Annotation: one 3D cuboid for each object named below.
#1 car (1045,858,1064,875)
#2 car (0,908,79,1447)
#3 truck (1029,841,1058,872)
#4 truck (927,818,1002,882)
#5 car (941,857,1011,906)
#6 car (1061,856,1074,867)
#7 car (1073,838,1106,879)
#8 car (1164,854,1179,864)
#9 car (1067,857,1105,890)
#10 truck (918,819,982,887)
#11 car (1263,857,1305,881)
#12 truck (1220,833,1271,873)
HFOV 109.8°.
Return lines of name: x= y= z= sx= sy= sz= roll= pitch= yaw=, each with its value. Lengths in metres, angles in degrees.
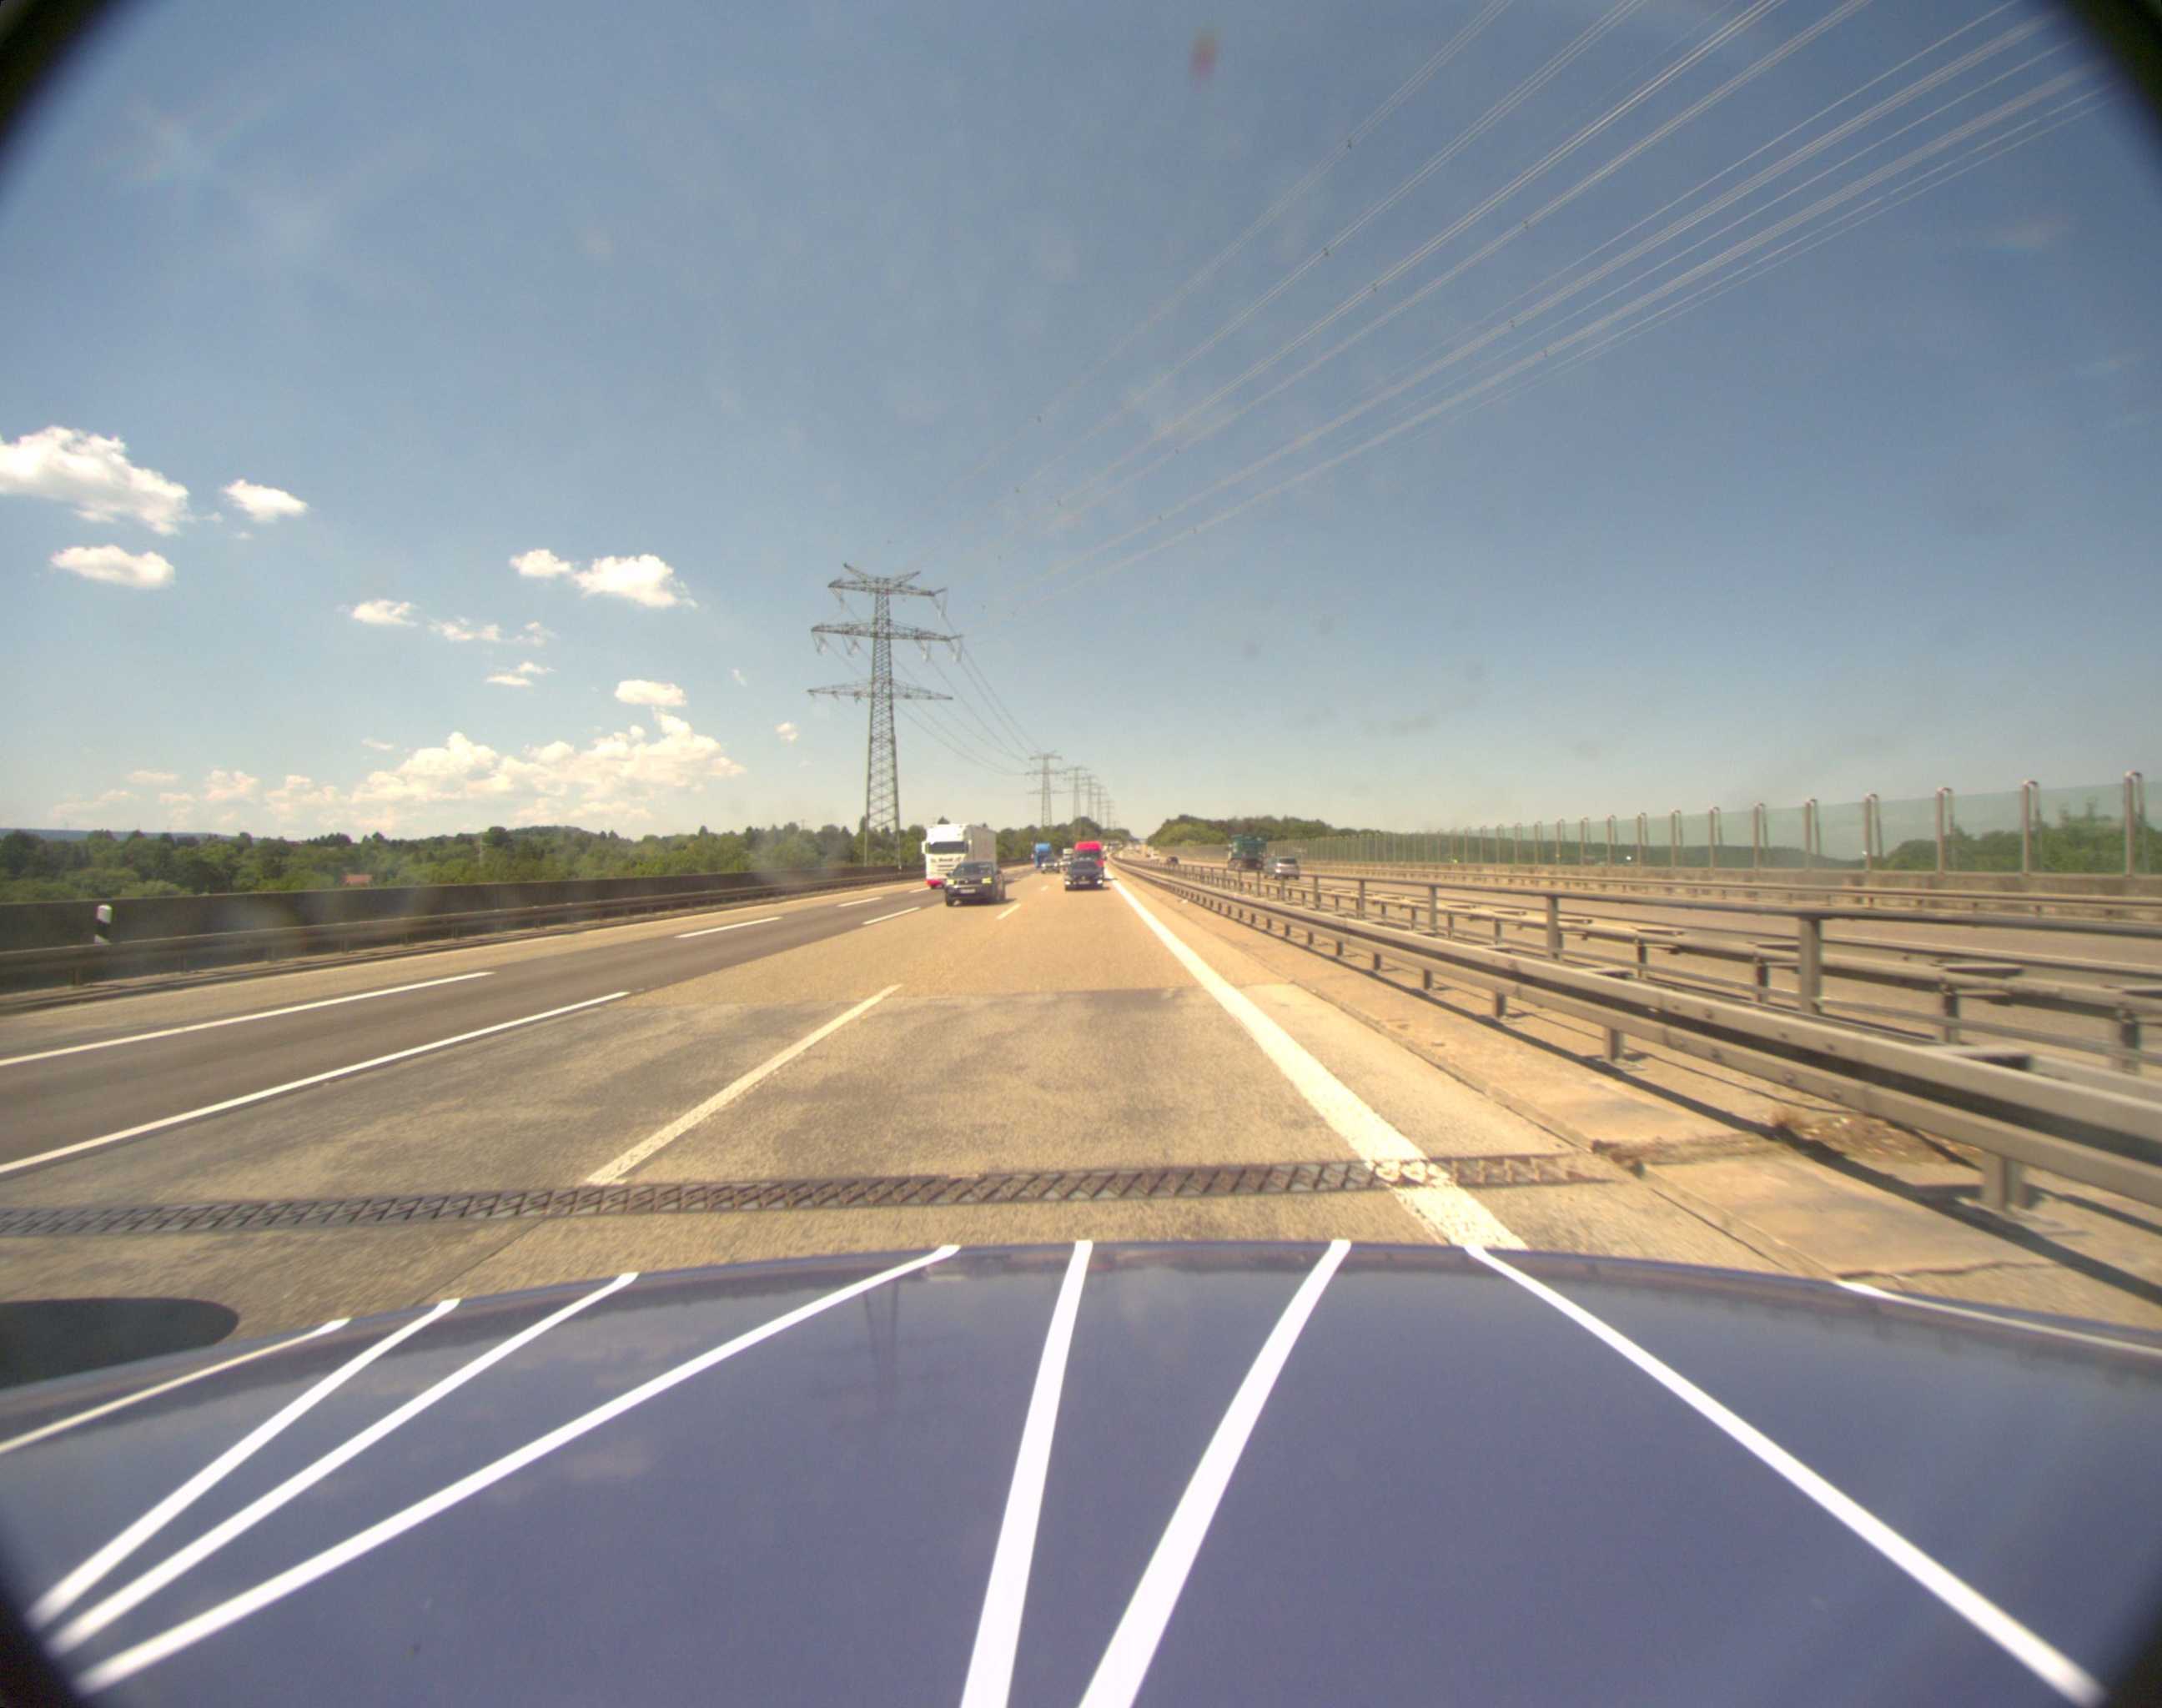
car: x=-2.820 y=1.327 z=80.661 sx=1.749 sy=1.691 sz=4.089 roll=-1 pitch=-1 yaw=1
car: x=-4.273 y=1.002 z=0.198 sx=1.873 sy=1.626 sz=4.586 roll=-2 pitch=-1 yaw=1
truck: x=-6.276 y=0.473 z=129.841 sx=3.798 sy=4.970 sz=14.926 roll=-2 pitch=-1 yaw=1
truck: x=-7.907 y=-0.162 z=53.532 sx=3.076 sy=3.884 sz=12.505 roll=-2 pitch=-1 yaw=0
car: x=-3.878 y=1.000 z=28.629 sx=1.955 sy=1.636 sz=4.047 roll=-3 pitch=-1 yaw=1
car: x=-2.024 y=1.169 z=118.147 sx=1.879 sy=1.591 sz=3.689 roll=0 pitch=-1 yaw=1
car: x=0.580 y=0.314 z=51.226 sx=2.100 sy=2.597 sz=4.497 roll=0 pitch=0 yaw=1
car: x=15.083 y=0.835 z=126.510 sx=1.955 sy=1.556 sz=4.047 roll=0 pitch=-1 yaw=1
car: x=0.255 y=0.911 z=37.101 sx=1.736 sy=1.535 sz=3.751 roll=0 pitch=-1 yaw=1
truck: x=-7.963 y=-0.055 z=46.542 sx=3.076 sy=3.884 sz=3.848 roll=-2 pitch=0 yaw=0
car: x=14.003 y=1.067 z=52.635 sx=1.786 sy=1.595 sz=4.047 roll=0 pitch=-1 yaw=-1
truck: x=18.114 y=-0.020 z=84.630 sx=3.315 sy=4.113 sz=11.092 roll=1 pitch=-1 yaw=1
